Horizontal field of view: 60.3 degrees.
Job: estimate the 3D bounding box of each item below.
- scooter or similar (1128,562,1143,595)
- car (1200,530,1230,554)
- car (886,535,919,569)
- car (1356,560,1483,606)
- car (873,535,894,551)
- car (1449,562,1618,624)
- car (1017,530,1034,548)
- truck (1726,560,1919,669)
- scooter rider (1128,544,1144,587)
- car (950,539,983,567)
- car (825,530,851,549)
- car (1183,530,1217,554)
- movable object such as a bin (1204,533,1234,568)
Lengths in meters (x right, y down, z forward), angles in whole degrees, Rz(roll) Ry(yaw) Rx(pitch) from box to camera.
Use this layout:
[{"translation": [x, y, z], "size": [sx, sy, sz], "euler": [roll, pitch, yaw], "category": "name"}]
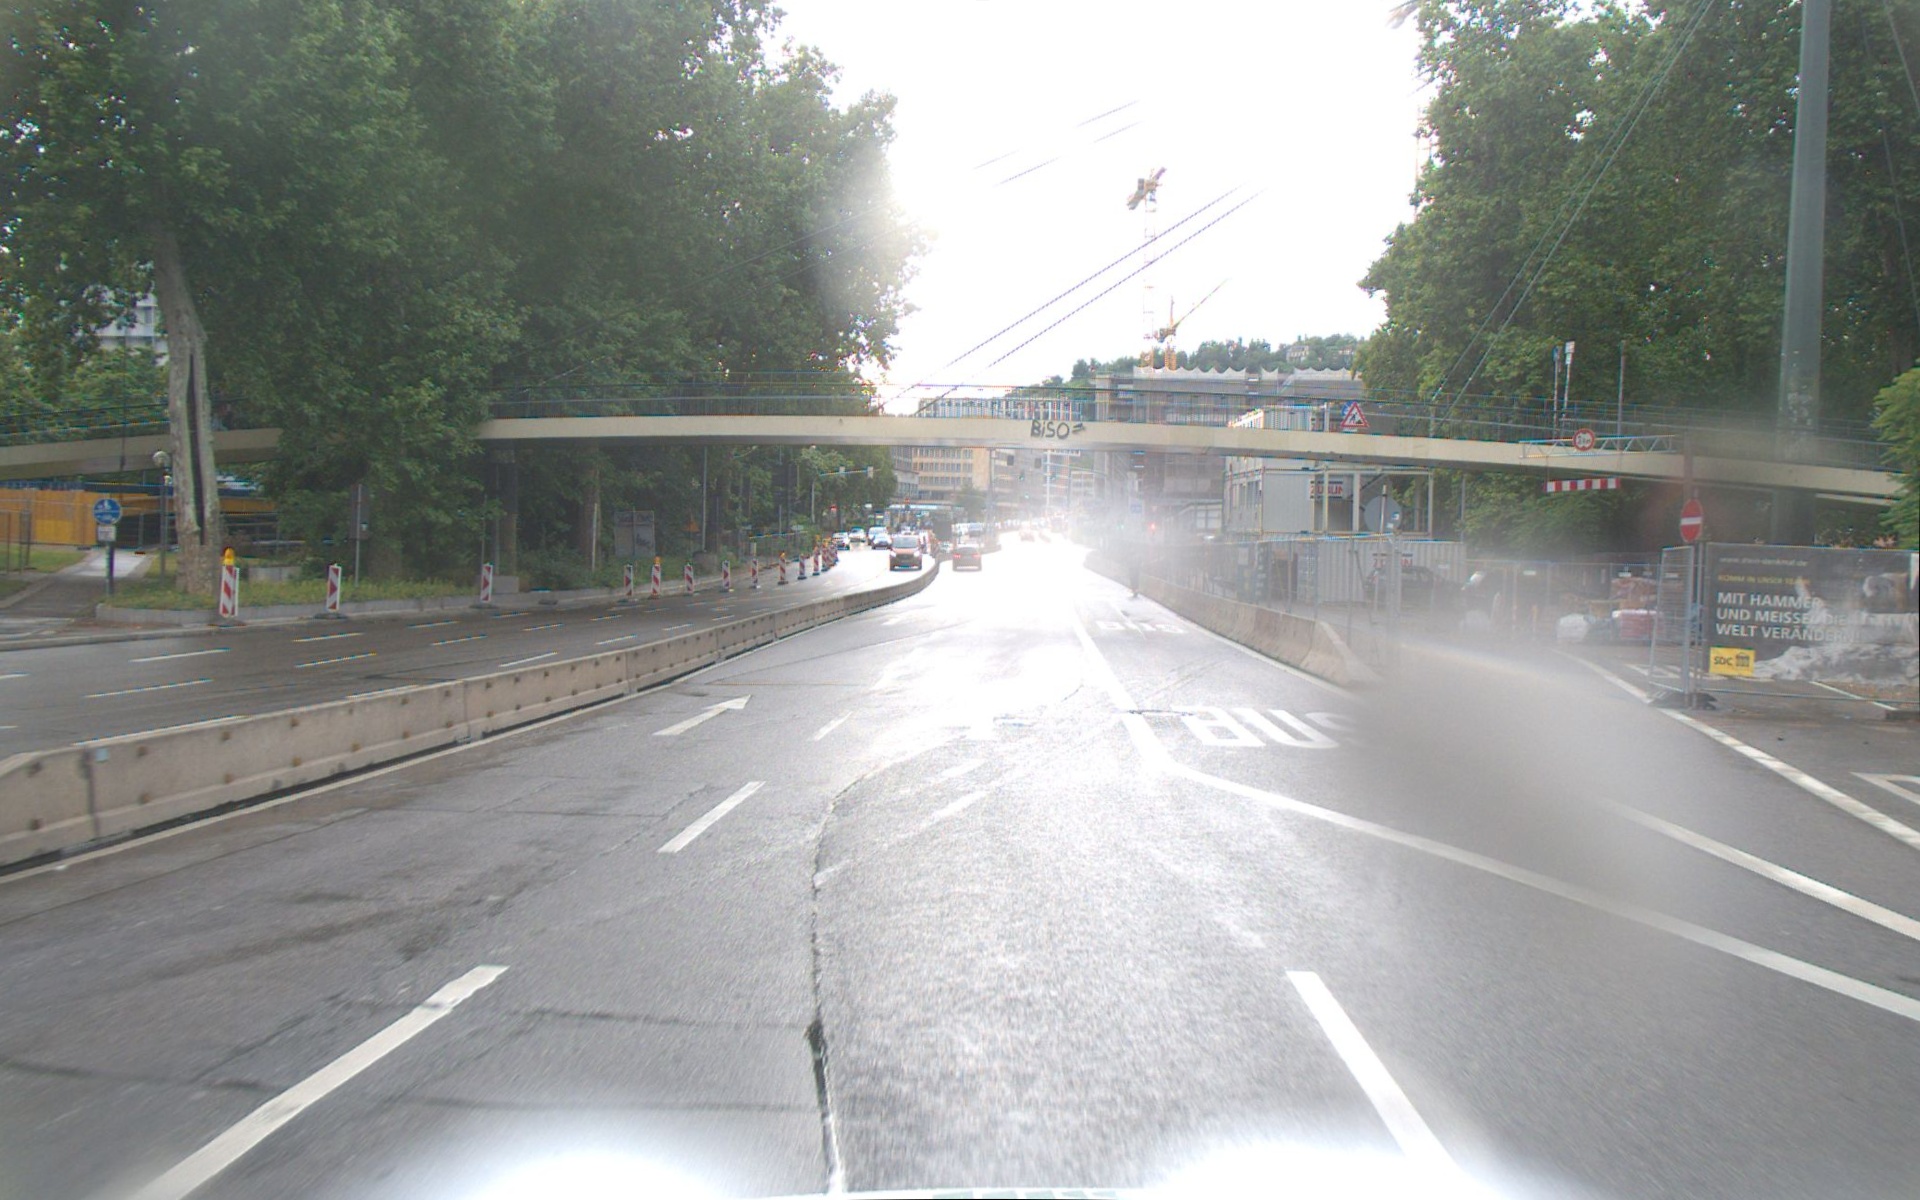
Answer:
[{"translation": [7.496, -0.934, 70.688], "size": [0.584, 1.342, 1.669], "euler": [1, 2, 4], "category": "scooter or similar"}, {"translation": [21.648, -4.928, 140.380], "size": [1.808, 1.837, 5.090], "euler": [1, 4, 1], "category": "car"}, {"translation": [-3.567, -2.932, 101.829], "size": [1.990, 1.970, 5.042], "euler": [-1, 0, -2], "category": "car"}, {"translation": [17.988, -0.678, 64.867], "size": [4.450, 1.657, 1.788], "euler": [1, 3, 0], "category": "car"}, {"translation": [-7.343, -5.428, 157.995], "size": [1.679, 1.361, 4.057], "euler": [-5, 2, -6], "category": "car"}, {"translation": [17.413, -0.229, 50.373], "size": [4.409, 1.758, 1.999], "euler": [1, 2, -3], "category": "car"}, {"translation": [8.099, -7.520, 204.857], "size": [1.952, 2.049, 4.002], "euler": [-1, 0, 3], "category": "car"}, {"translation": [18.369, 0.284, 33.008], "size": [5.052, 2.049, 2.407], "euler": [1, 0, -5], "category": "truck"}, {"translation": [7.502, -1.477, 70.638], "size": [0.585, 1.816, 0.998], "euler": [1, 2, 4], "category": "scooter rider"}, {"translation": [0.364, -2.817, 99.607], "size": [1.863, 1.554, 4.177], "euler": [-1, 0, -1], "category": "car"}, {"translation": [-11.513, -5.702, 155.817], "size": [1.994, 1.681, 4.309], "euler": [0, 3, -11], "category": "car"}, {"translation": [21.220, -5.175, 146.345], "size": [1.874, 2.009, 5.161], "euler": [1, 3, -4], "category": "car"}, {"translation": [17.068, -3.265, 109.069], "size": [1.436, 2.240, 1.257], "euler": [0, 4, -22], "category": "movable object such as a bin"}]
